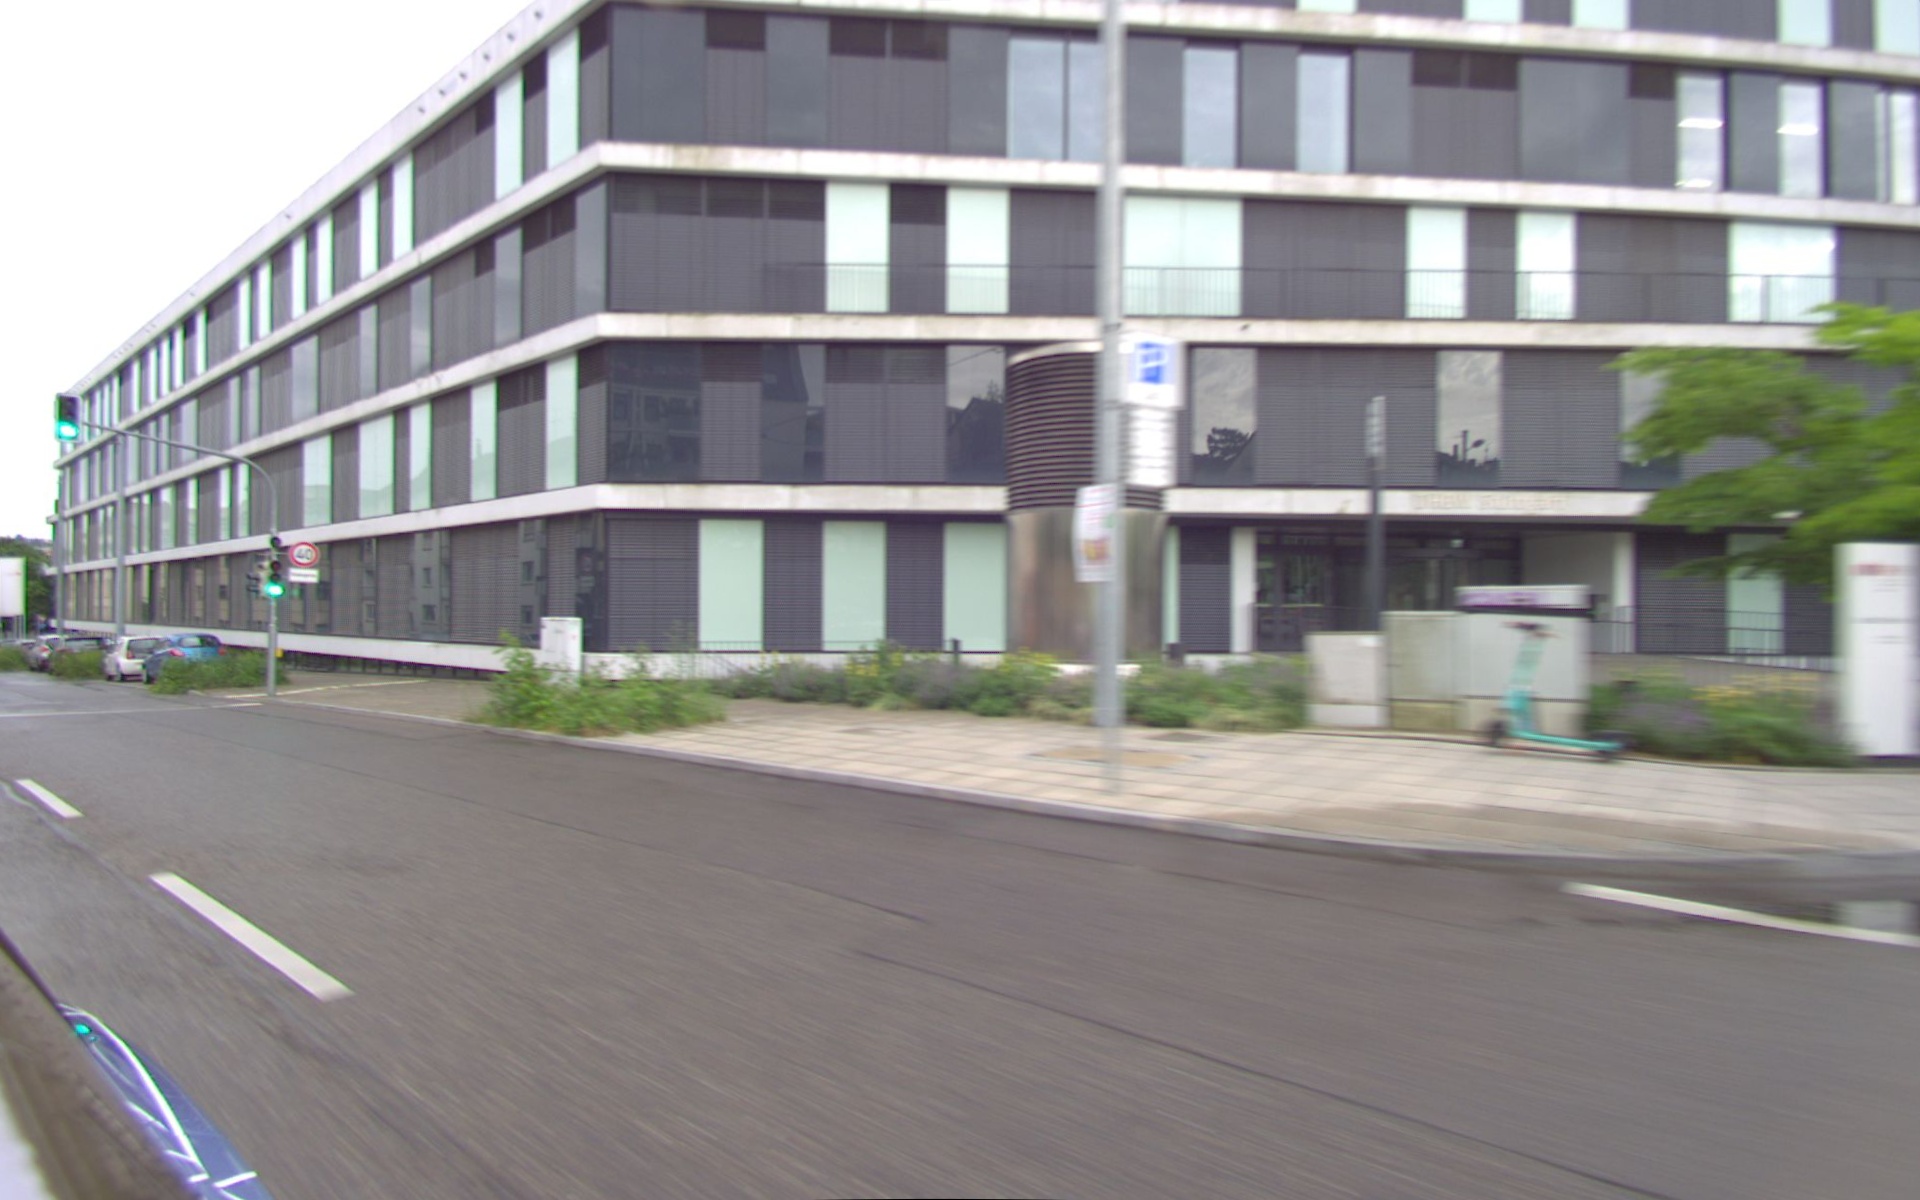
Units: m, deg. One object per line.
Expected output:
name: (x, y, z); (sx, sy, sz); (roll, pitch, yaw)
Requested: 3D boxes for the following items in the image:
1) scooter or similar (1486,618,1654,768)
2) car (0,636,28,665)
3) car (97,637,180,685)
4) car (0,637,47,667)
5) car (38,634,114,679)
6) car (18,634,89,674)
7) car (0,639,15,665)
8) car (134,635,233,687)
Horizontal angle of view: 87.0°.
scooter or similar: (5.516, 0.797, 9.189); (1.231, 1.258, 0.491); (-1, 0, 42)
car: (-52.292, 2.750, 55.341); (4.039, 1.483, 1.545); (-2, -2, 41)
car: (-27.409, 1.990, 33.749); (3.583, 1.478, 1.620); (-2, -2, 42)
car: (-47.666, 2.609, 51.329); (4.039, 1.404, 1.545); (-2, -1, 41)
car: (-35.563, 2.236, 40.682); (4.363, 1.601, 1.862); (-2, 0, 43)
car: (-40.204, 2.382, 44.855); (4.360, 1.601, 1.811); (-2, 0, 41)
car: (-58.653, 3.162, 61.352); (4.039, 1.483, 1.621); (-2, -1, 41)
car: (-23.580, 1.818, 30.687); (3.580, 1.478, 1.621); (-2, -2, 39)
